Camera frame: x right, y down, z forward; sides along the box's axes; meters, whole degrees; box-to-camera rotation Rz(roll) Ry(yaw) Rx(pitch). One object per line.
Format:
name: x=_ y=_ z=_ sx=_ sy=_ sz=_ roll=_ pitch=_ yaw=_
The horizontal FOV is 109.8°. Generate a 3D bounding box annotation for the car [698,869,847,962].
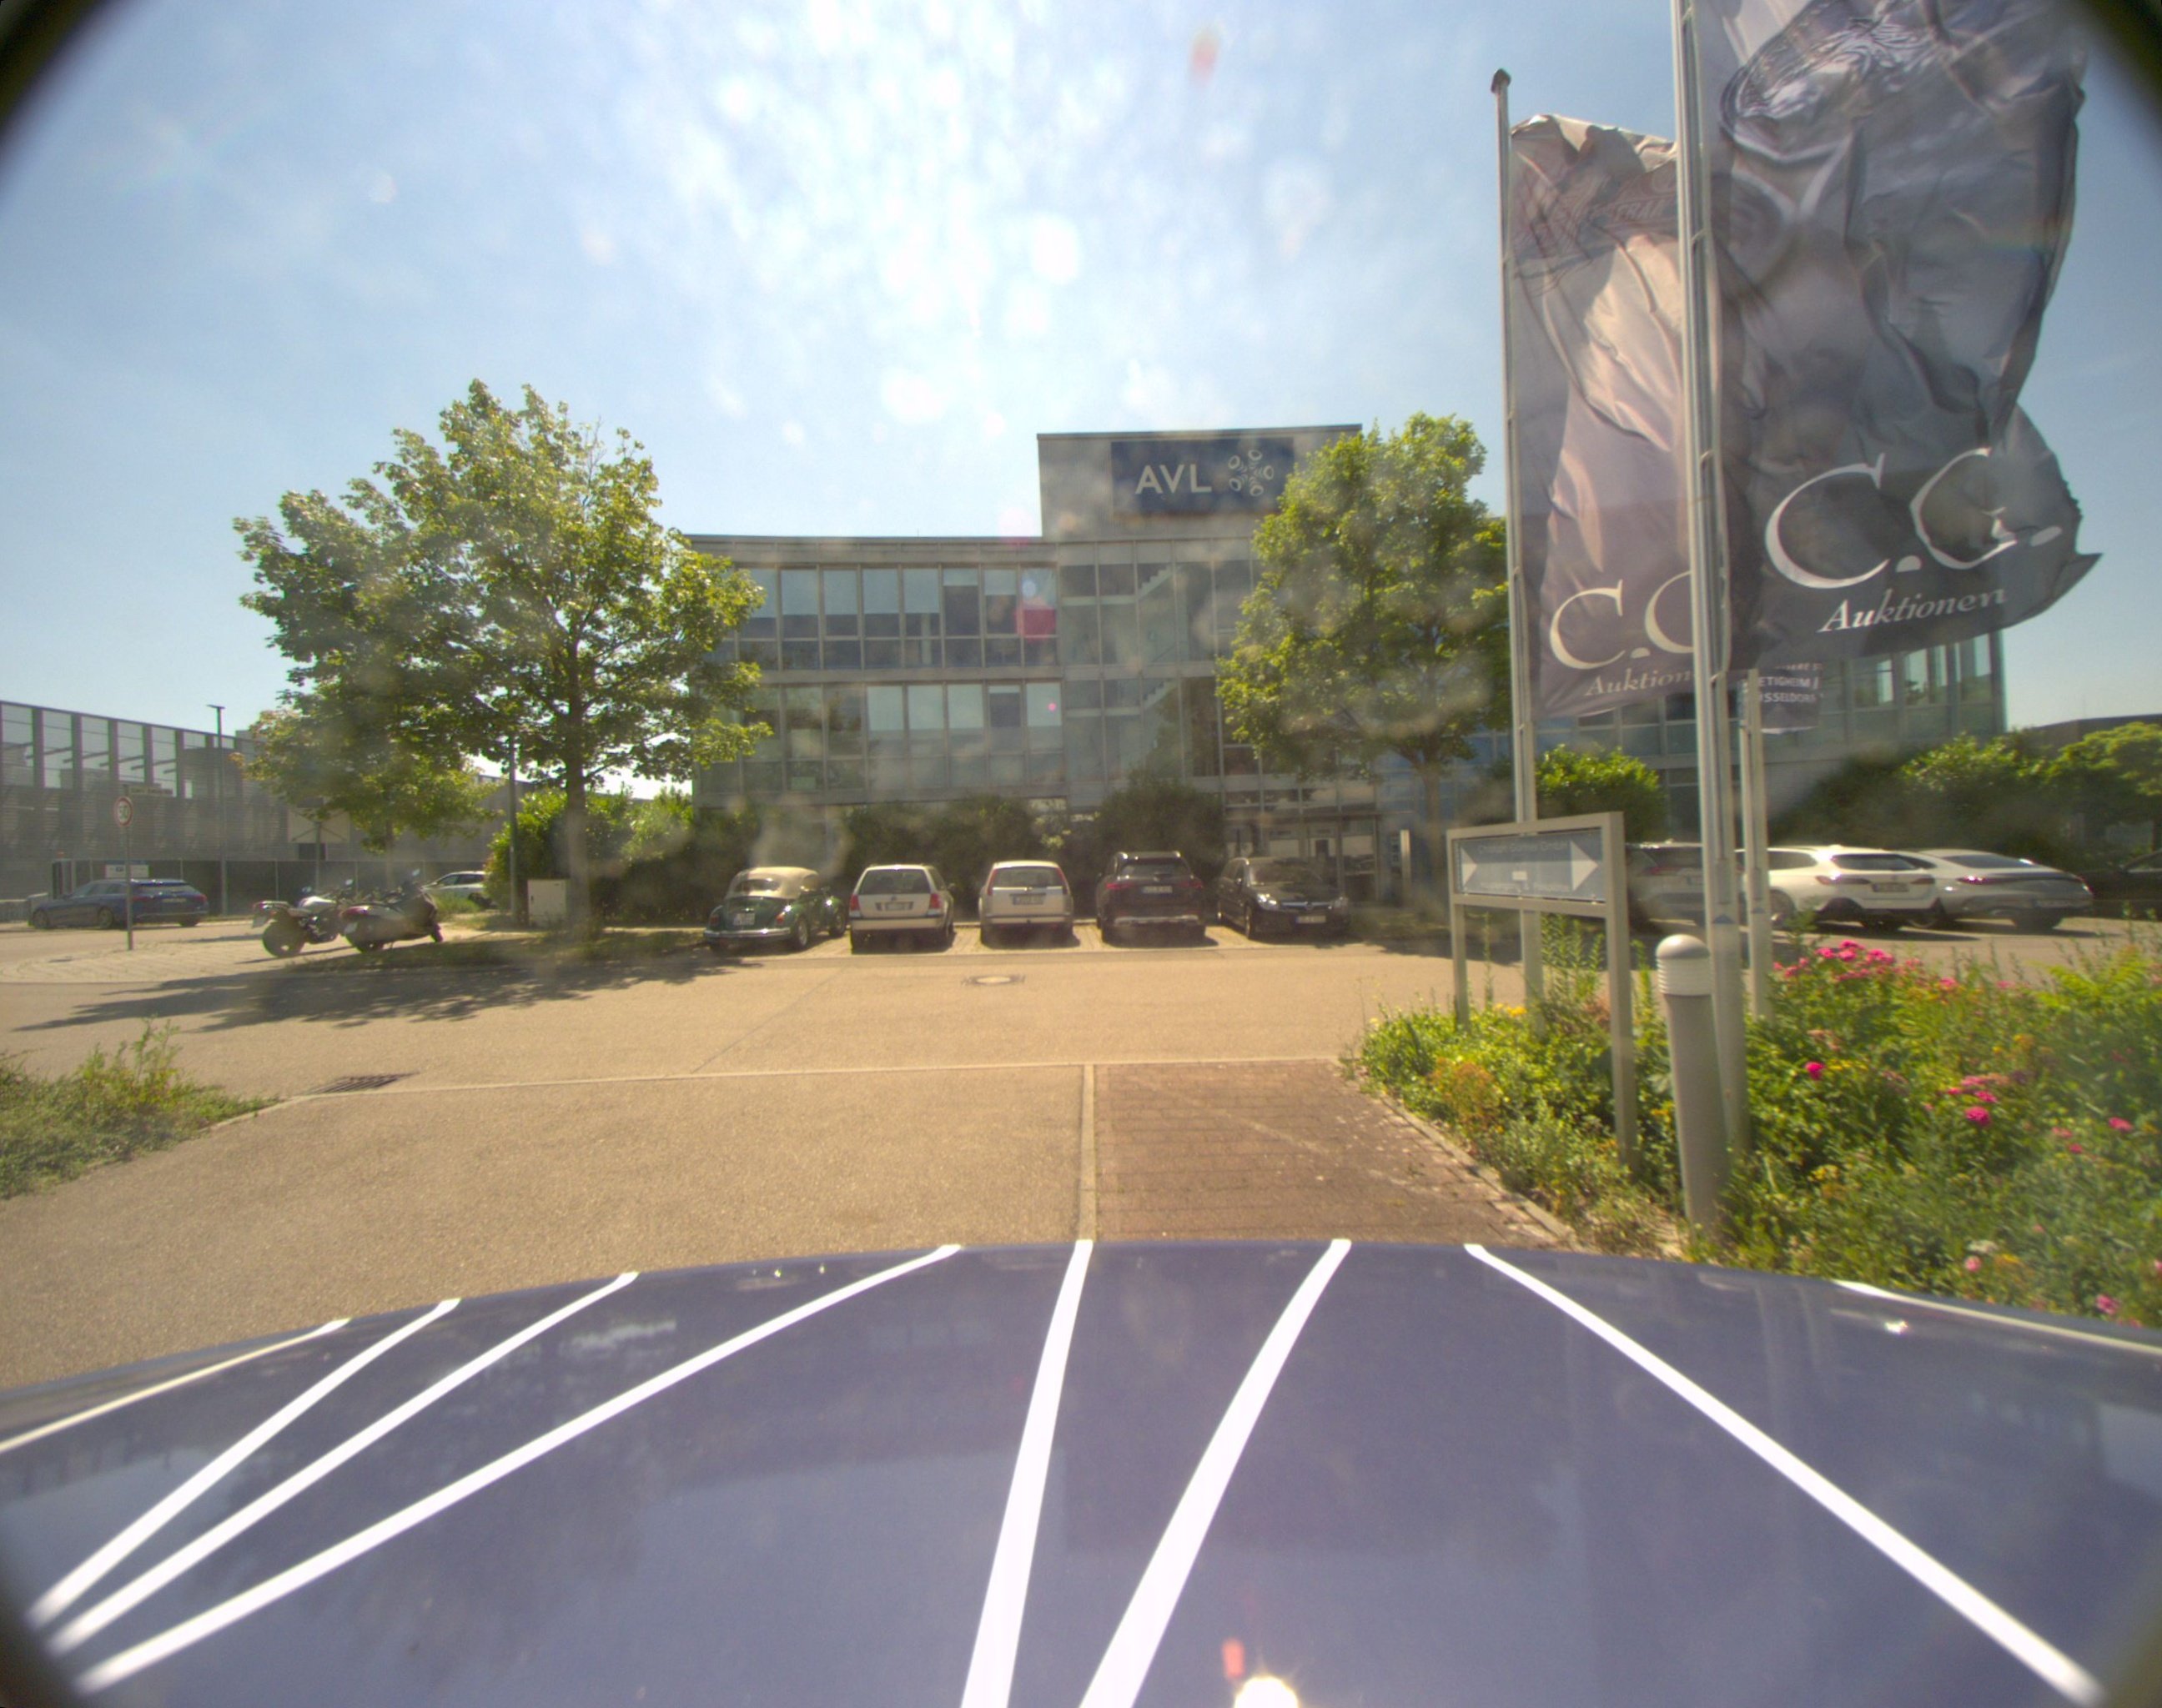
car: x=-5.594 y=1.042 z=14.203 sx=1.522 sy=1.437 sz=3.418 roll=-1 pitch=1 yaw=-3

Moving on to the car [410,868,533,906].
car: x=-25.718 y=1.407 z=32.086 sx=4.406 sy=1.467 sz=1.783 roll=-1 pitch=0 yaw=16

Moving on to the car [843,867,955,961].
car: x=-3.306 y=1.023 z=14.403 sx=1.643 sy=1.443 sz=3.598 roll=0 pitch=1 yaw=-7

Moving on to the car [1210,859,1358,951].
car: x=3.813 y=0.881 z=15.062 sx=1.730 sy=1.475 sz=4.397 roll=-2 pitch=0 yaw=0

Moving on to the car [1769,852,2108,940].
car: x=15.685 y=0.677 z=14.315 sx=1.751 sy=1.392 sz=4.172 roll=-1 pitch=0 yaw=2

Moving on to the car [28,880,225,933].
car: x=-28.275 y=1.542 z=22.547 sx=4.438 sy=1.401 sz=1.861 roll=-2 pitch=0 yaw=13

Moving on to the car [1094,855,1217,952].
car: x=1.301 y=0.853 z=14.904 sx=1.939 sy=1.593 sz=3.858 roll=-1 pitch=1 yaw=-1

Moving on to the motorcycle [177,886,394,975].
motorcycle: x=-13.847 y=1.265 z=13.421 sx=0.873 sy=1.252 sz=2.835 roll=-1 pitch=1 yaw=-2

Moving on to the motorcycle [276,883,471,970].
motorcycle: x=-12.520 y=1.226 z=13.643 sx=0.873 sy=1.252 sz=2.835 roll=-1 pitch=1 yaw=-2

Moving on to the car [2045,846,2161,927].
car: x=20.285 y=0.602 z=13.338 sx=1.750 sy=1.416 sz=4.173 roll=-1 pitch=1 yaw=8

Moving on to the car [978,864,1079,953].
car: x=-1.125 y=0.971 z=15.044 sx=1.732 sy=1.443 sz=3.598 roll=-1 pitch=1 yaw=-7

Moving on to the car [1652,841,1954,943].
car: x=13.282 y=0.611 z=14.413 sx=1.832 sy=1.628 sz=4.172 roll=-1 pitch=0 yaw=2

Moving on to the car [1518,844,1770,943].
car: x=10.684 y=0.662 z=14.889 sx=1.832 sy=1.628 sz=4.171 roll=-1 pitch=0 yaw=0
